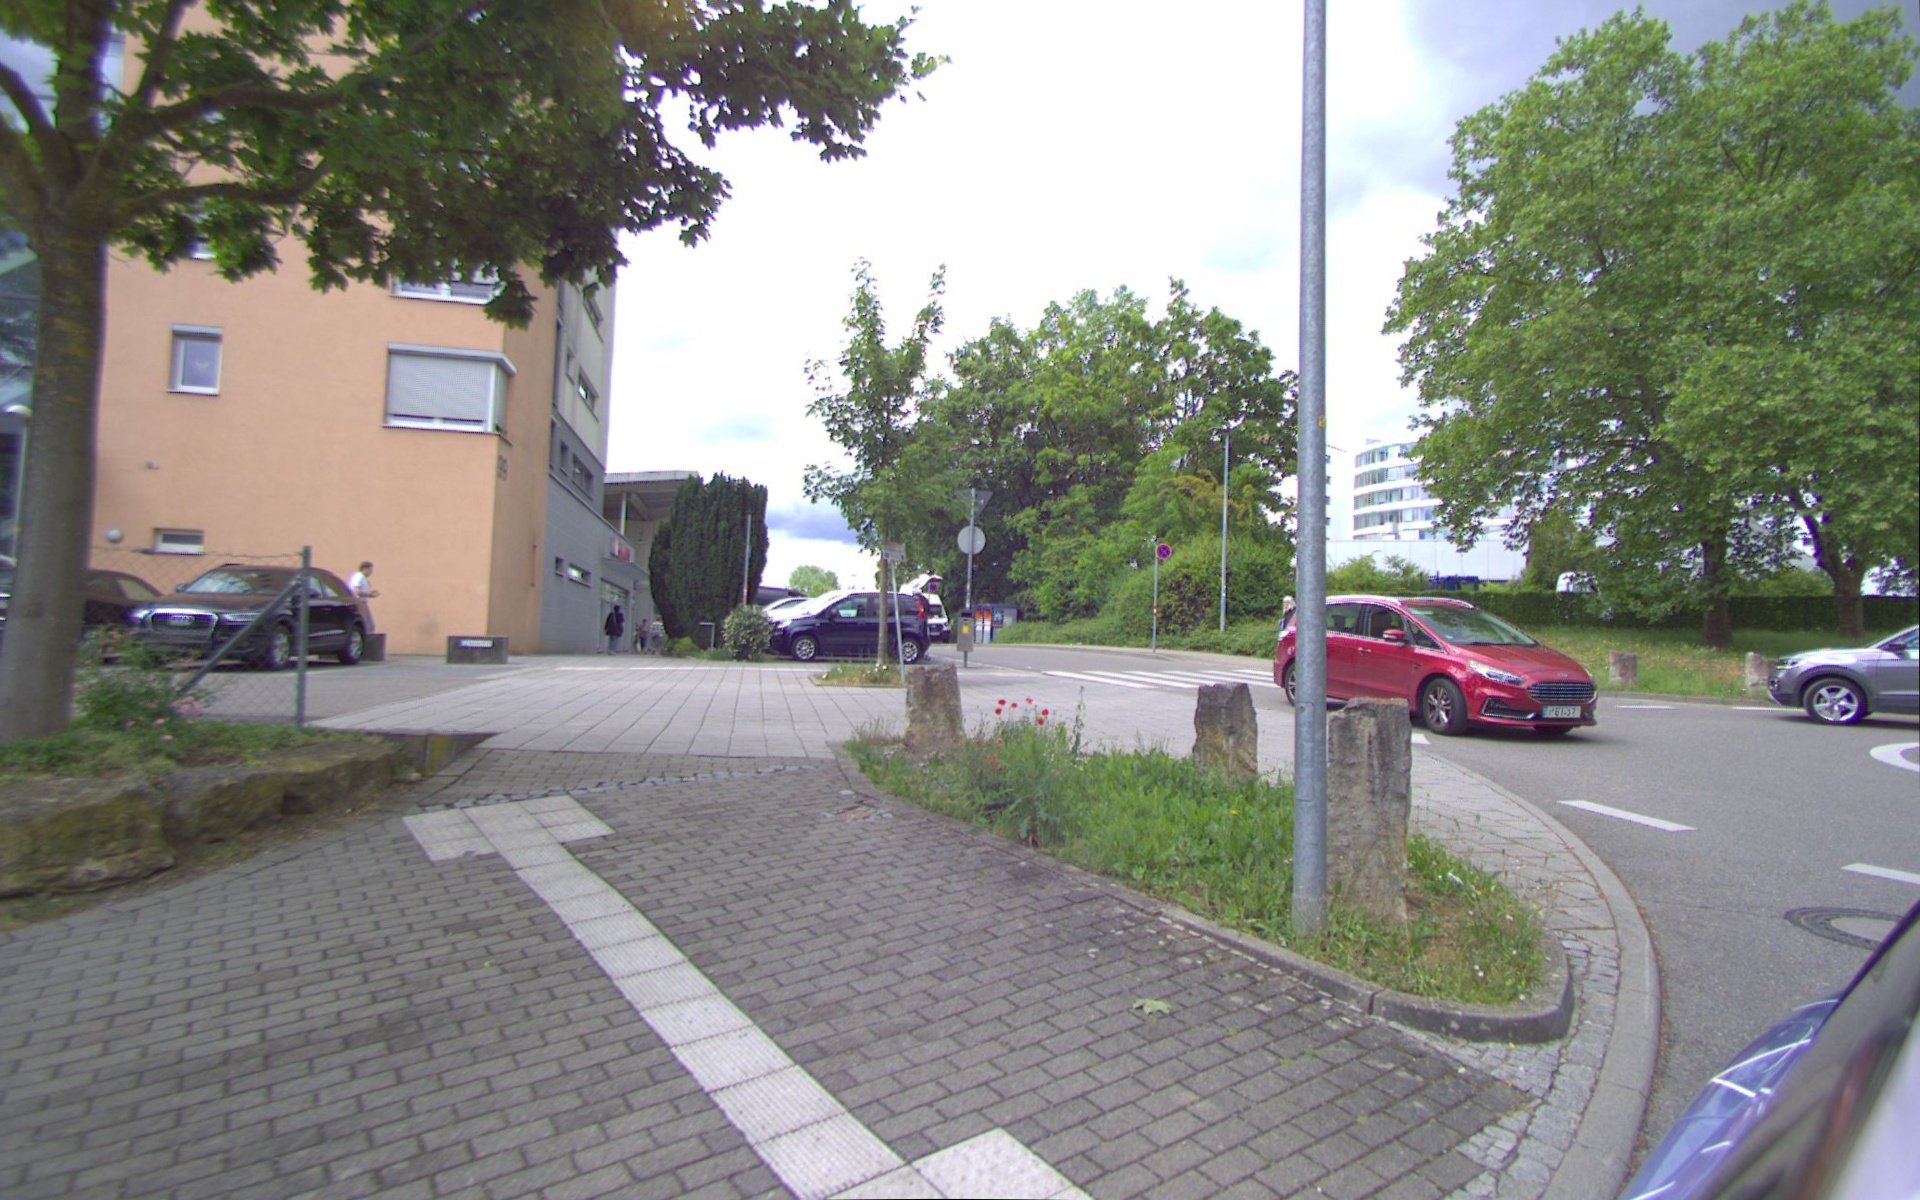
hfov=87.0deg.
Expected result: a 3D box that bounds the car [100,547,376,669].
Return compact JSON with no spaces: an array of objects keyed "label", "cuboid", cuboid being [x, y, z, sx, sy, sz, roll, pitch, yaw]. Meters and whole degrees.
[{"label":"car","cuboid":[-10.689,0.186,15.392,1.720,1.537,4.059,2,-3,-9]}]

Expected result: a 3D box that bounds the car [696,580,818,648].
[{"label":"car","cuboid":[-6.800,0.489,33.993,3.894,2.189,1.833,0,-2,-12]}]

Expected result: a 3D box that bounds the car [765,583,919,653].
[{"label":"car","cuboid":[-3.006,0.435,25.597,3.698,1.680,1.576,0,0,-12]}]

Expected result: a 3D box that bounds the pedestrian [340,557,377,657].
[{"label":"pedestrian","cuboid":[-11.449,0.134,19.270,0.496,1.877,0.480,1,-3,-22]}]

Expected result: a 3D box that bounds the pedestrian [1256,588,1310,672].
[{"label":"pedestrian","cuboid":[6.583,0.618,20.632,0.823,1.687,0.615,0,-3,-8]}]

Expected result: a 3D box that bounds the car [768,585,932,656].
[{"label":"car","cuboid":[-2.457,0.473,22.417,3.452,1.495,1.507,0,-2,-12]}]

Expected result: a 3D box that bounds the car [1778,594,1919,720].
[{"label":"car","cuboid":[13.482,0.740,13.362,1.694,1.638,4.000,0,0,-43]}]

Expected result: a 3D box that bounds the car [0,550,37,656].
[{"label":"car","cuboid":[-15.198,-0.001,14.162,1.657,1.614,4.139,1,-2,-16]}]

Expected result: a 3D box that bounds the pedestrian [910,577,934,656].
[{"label":"pedestrian","cuboid":[-0.896,0.391,23.975,0.474,1.836,0.584,0,-3,-12]}]

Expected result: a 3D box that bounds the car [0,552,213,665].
[{"label":"car","cuboid":[-13.166,0.170,15.071,1.658,1.478,3.844,1,-2,-9]}]

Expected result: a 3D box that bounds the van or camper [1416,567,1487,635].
[{"label":"van or camper","cuboid":[21.692,0.114,44.851,2.086,2.835,4.454,-1,-2,17]}]

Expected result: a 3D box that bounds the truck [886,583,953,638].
[{"label":"truck","cuboid":[-2.137,0.591,51.639,2.024,2.641,5.818,1,-2,-16]}]

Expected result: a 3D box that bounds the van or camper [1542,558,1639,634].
[{"label":"van or camper","cuboid":[24.815,-0.073,40.038,2.086,2.835,4.454,-1,-2,17]}]

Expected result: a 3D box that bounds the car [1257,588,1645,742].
[{"label":"car","cuboid":[6.213,0.690,13.498,1.939,1.665,4.545,1,0,-21]}]
